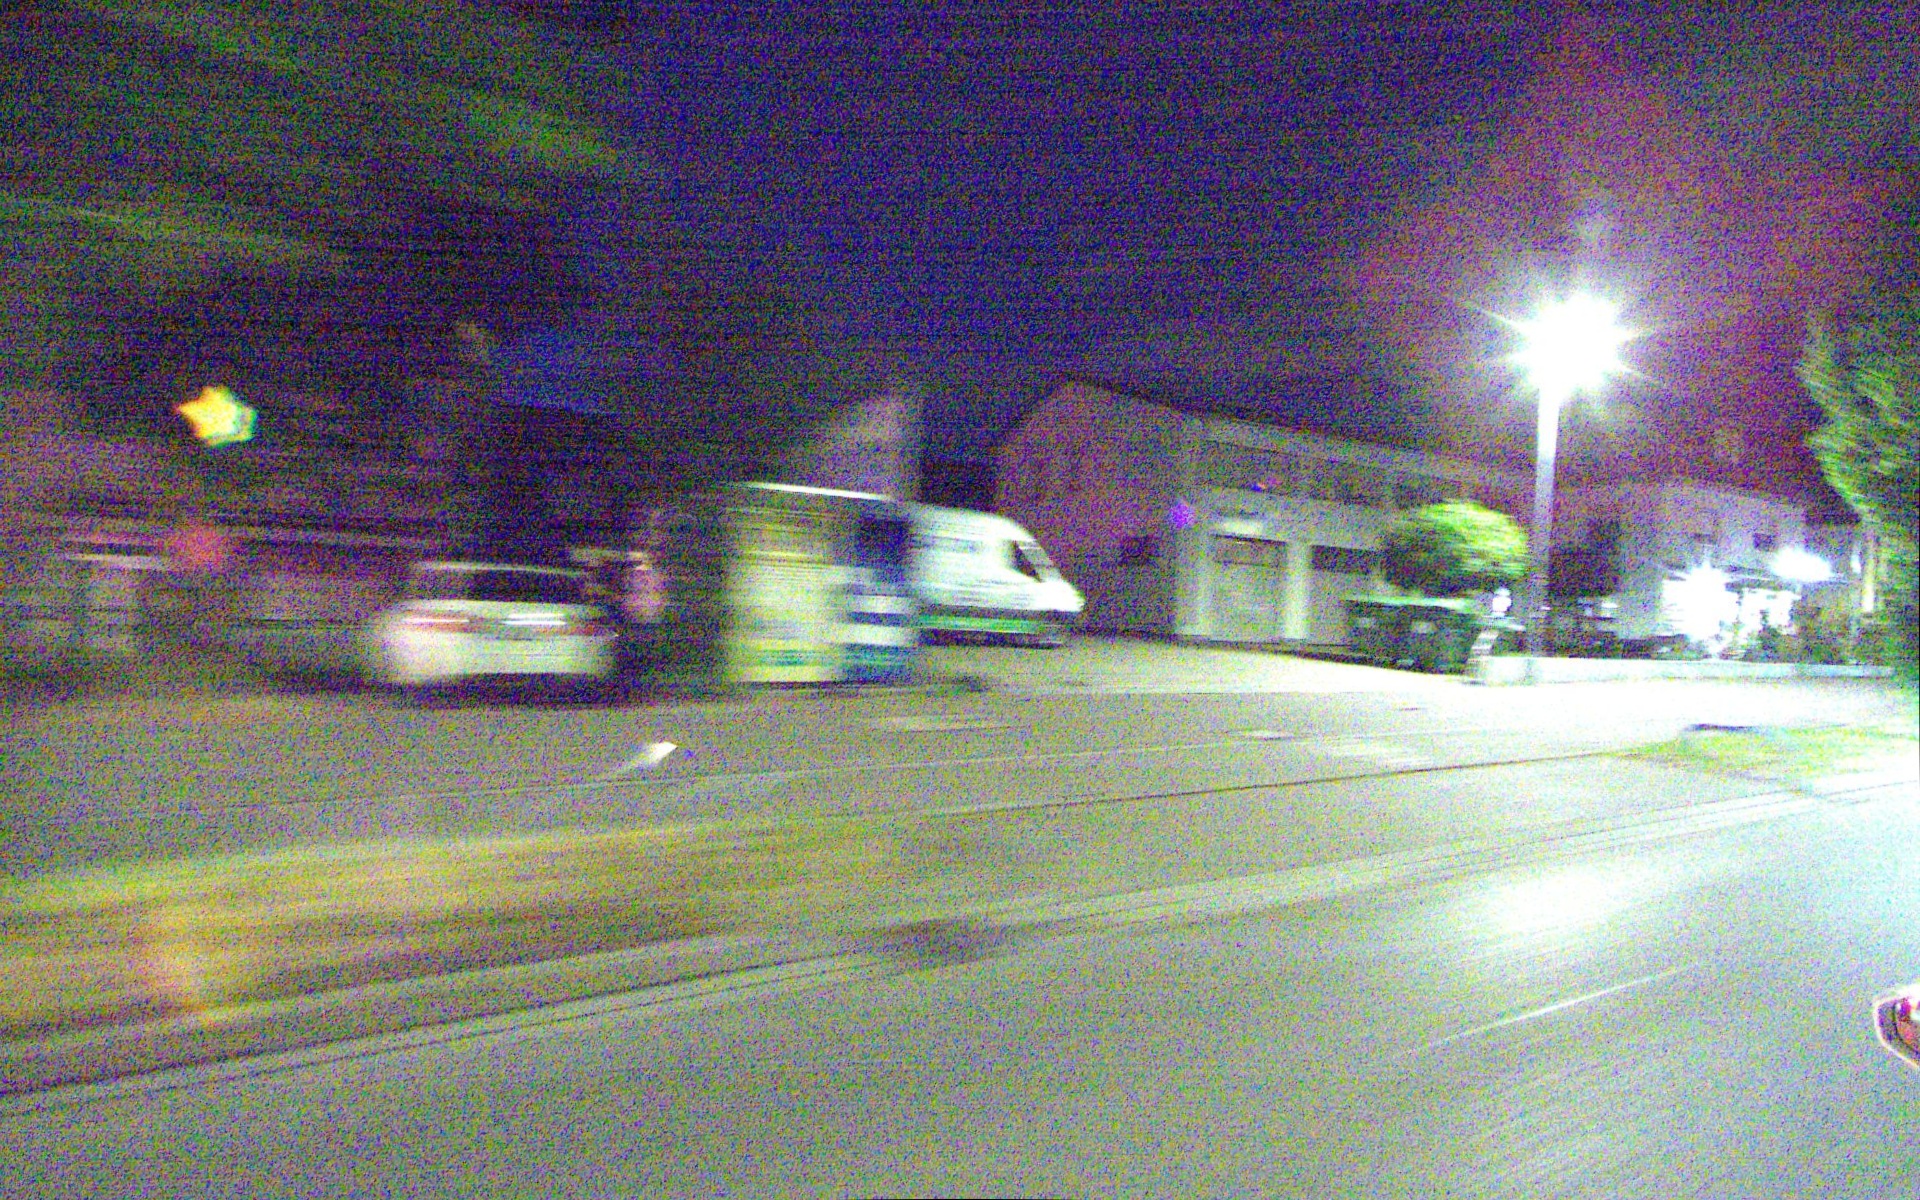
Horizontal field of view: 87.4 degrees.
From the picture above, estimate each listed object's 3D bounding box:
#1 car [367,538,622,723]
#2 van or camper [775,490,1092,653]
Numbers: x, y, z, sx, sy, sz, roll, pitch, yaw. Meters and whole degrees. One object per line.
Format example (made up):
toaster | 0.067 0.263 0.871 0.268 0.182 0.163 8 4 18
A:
car | -5.486 0.349 11.566 1.929 1.725 3.960 2 -2 -36
van or camper | -0.418 -0.434 19.575 5.862 2.784 2.064 2 1 -31
